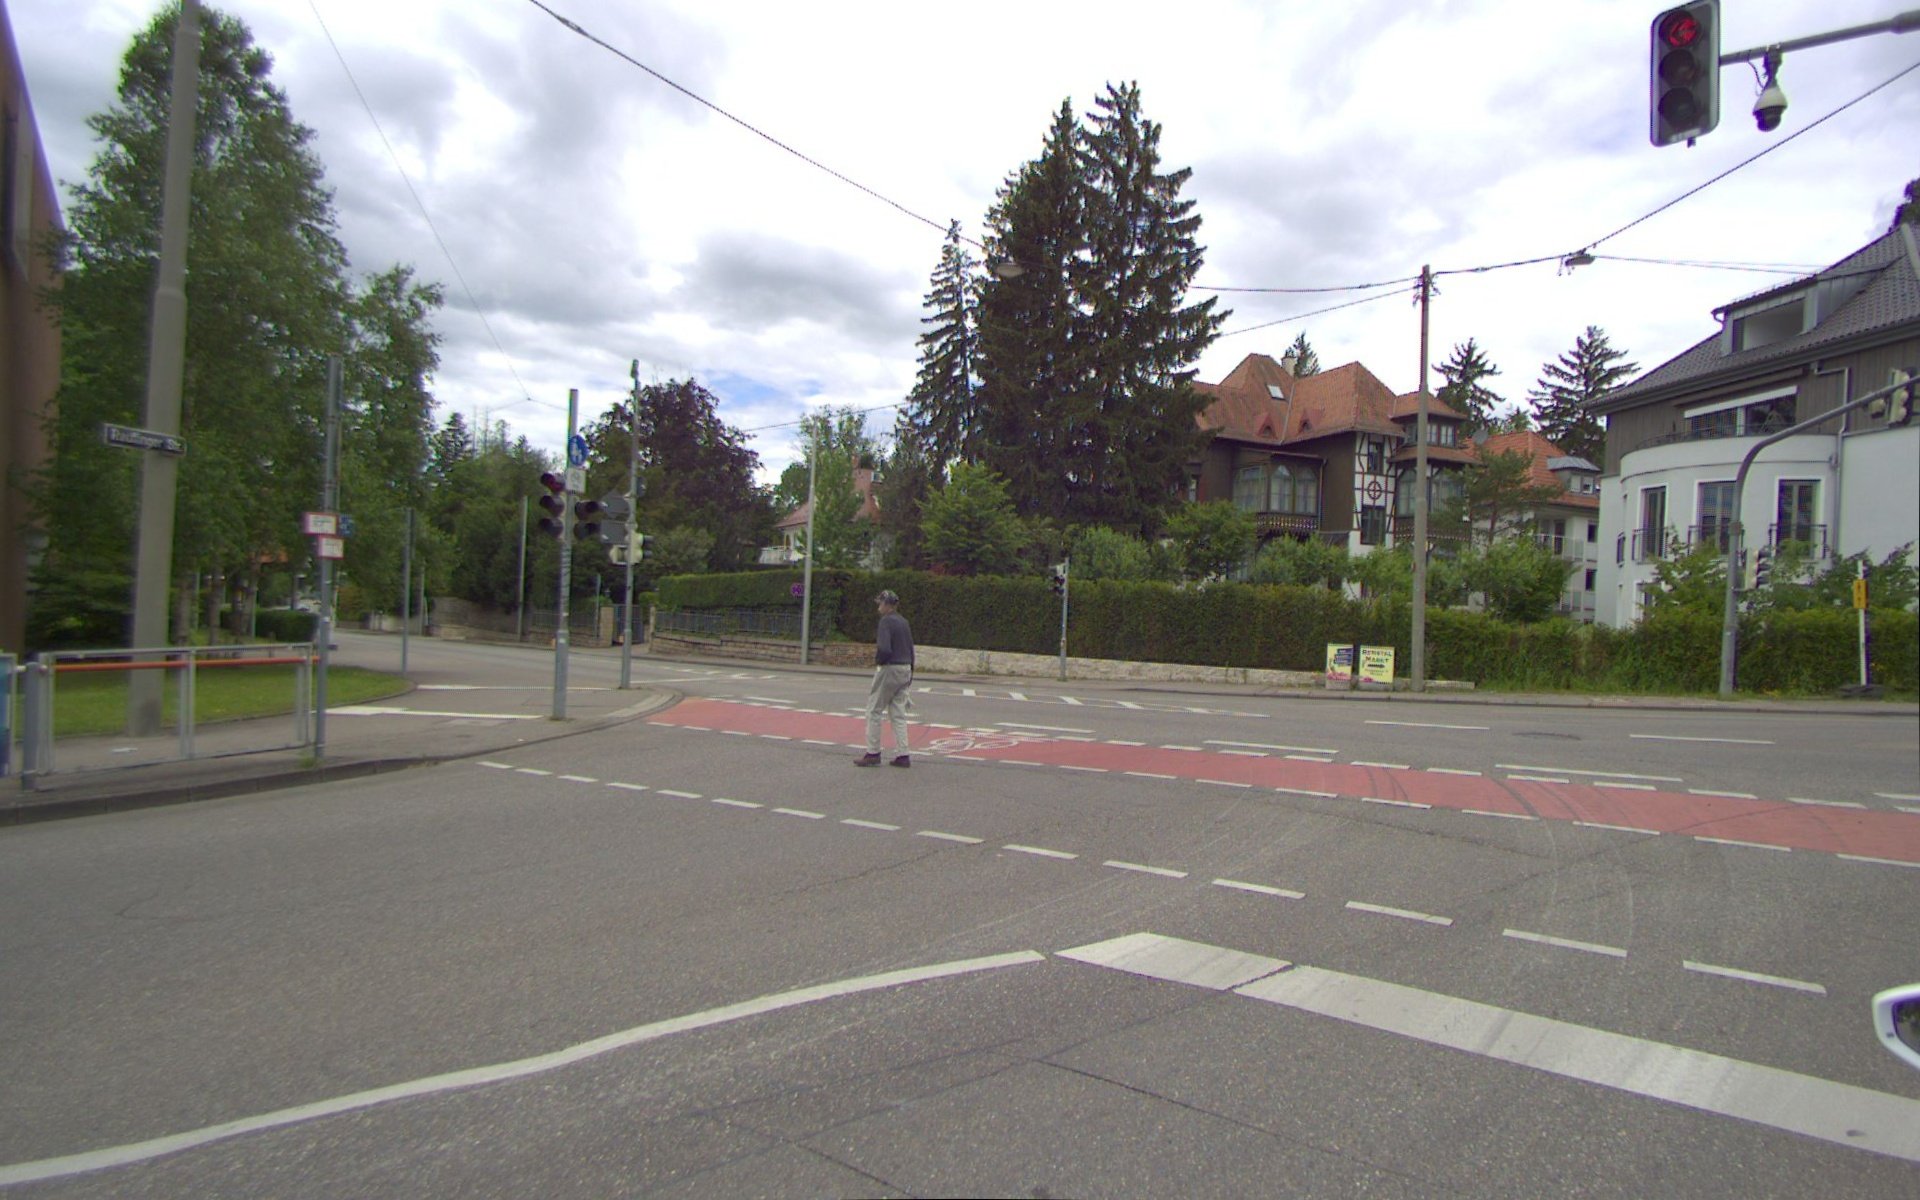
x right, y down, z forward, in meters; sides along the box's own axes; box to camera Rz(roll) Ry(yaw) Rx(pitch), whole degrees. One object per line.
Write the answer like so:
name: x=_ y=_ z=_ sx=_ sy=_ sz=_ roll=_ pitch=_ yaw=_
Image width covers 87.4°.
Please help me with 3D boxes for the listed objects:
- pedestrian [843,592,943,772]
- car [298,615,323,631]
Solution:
pedestrian: x=-0.640 y=0.765 z=9.695 sx=0.726 sy=1.655 sz=0.683 roll=-1 pitch=-1 yaw=22
car: x=-71.101 y=2.525 z=109.959 sx=1.798 sy=1.734 sz=3.990 roll=2 pitch=-2 yaw=-39
